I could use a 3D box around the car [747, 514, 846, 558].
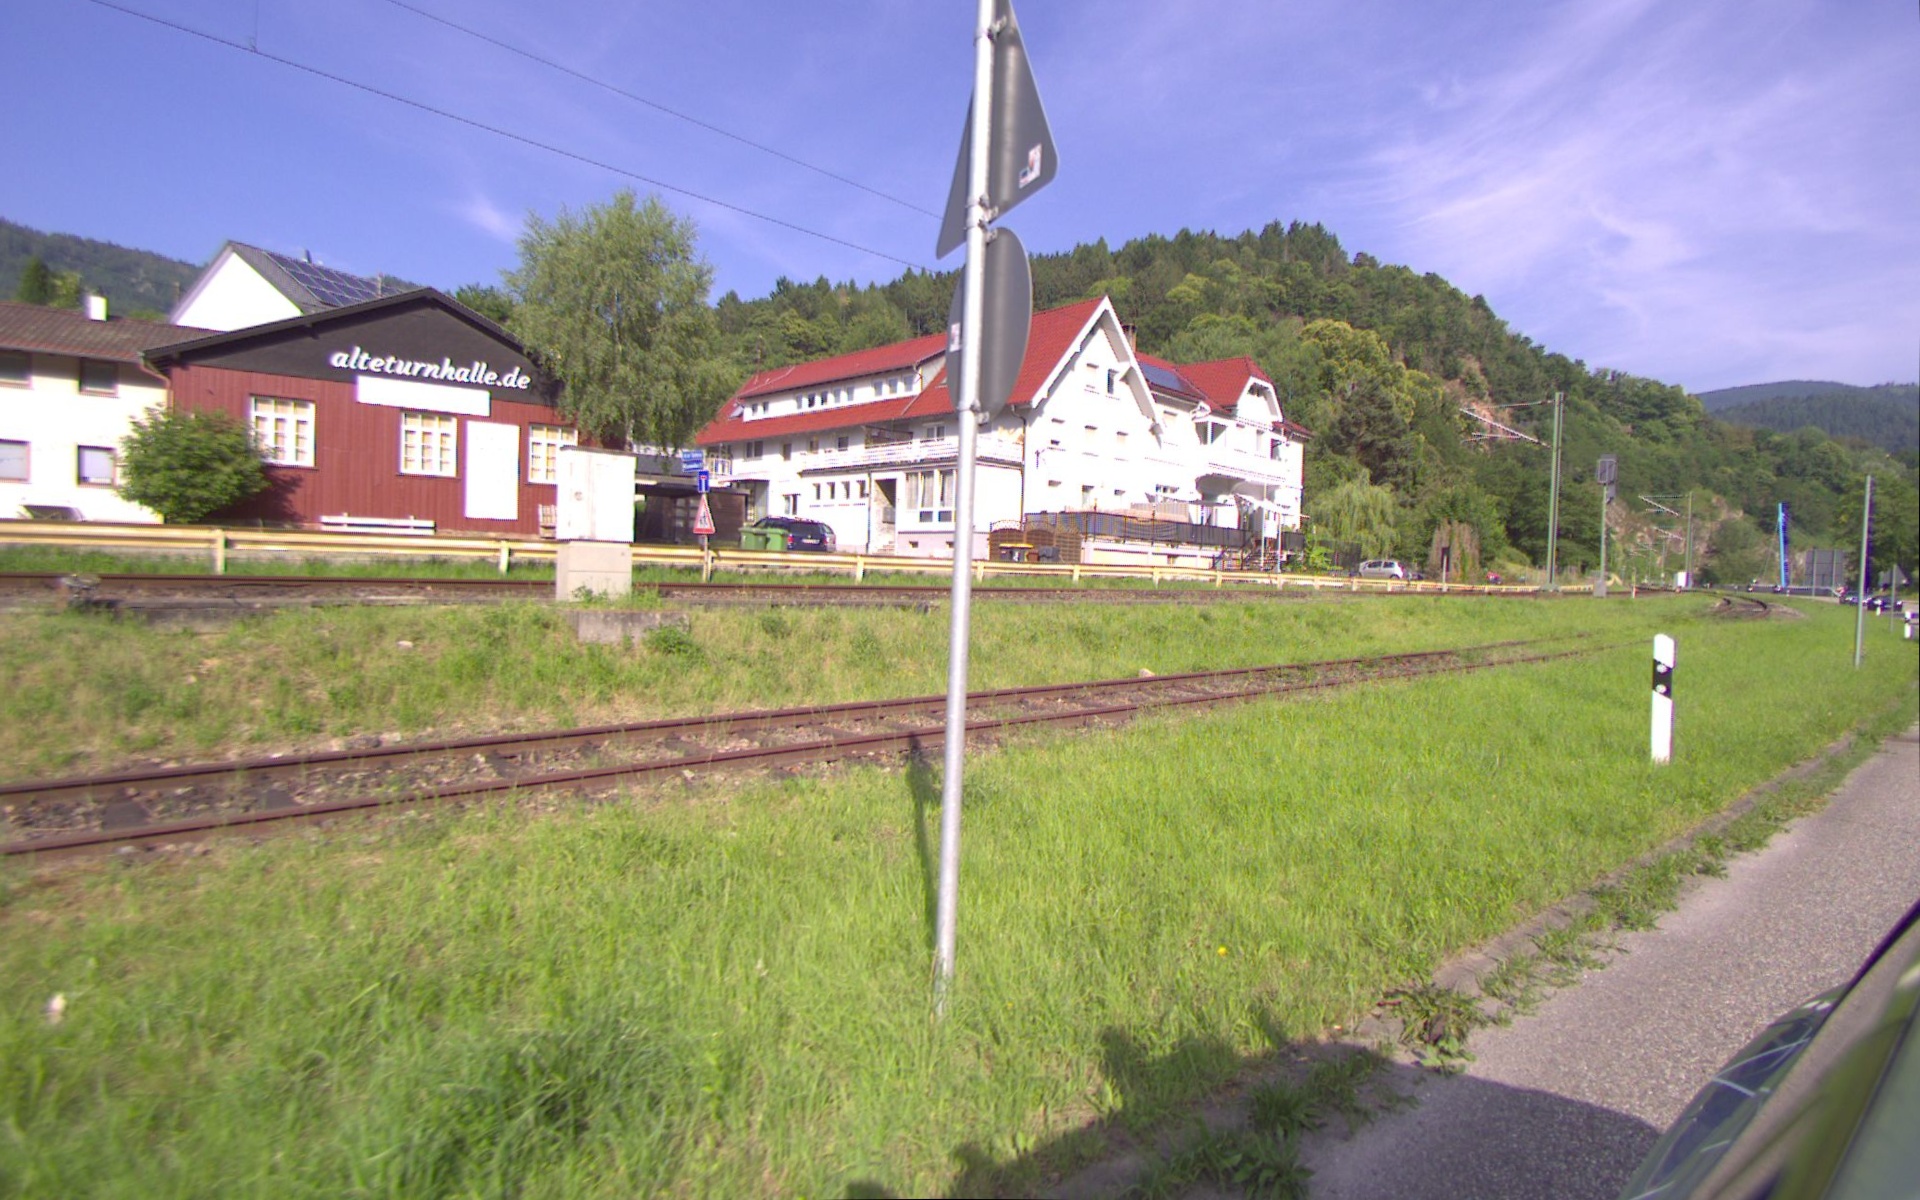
[{"bbox_3d":[-6.232,-2.444,38.349,1.794,1.392,3.996,1,5,-41],"label":"car"}]

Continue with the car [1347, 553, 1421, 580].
[{"bbox_3d":[27.566,-2.167,65.846,3.983,1.548,1.971,5,3,40],"label":"car"}]

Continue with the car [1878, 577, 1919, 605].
[{"bbox_3d":[75.193,-0.736,81.151,1.991,2.038,3.944,5,4,39],"label":"car"}]

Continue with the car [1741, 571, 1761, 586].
[{"bbox_3d":[117.115,-3.185,149.918,1.989,2.038,3.949,5,4,35],"label":"car"}]

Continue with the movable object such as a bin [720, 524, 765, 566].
[{"bbox_3d":[-5.772,-1.449,26.870,0.896,1.064,0.808,1,0,-42],"label":"movable object such as a bin"}]

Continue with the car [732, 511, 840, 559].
[{"bbox_3d":[-5.850,-2.179,33.744,1.792,1.392,3.999,1,4,-39],"label":"car"}]

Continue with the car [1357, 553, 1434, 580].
[{"bbox_3d":[29.173,-2.236,67.796,4.309,1.548,1.971,5,3,40],"label":"car"}]

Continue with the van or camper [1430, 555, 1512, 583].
[{"bbox_3d":[40.622,-2.474,80.518,2.086,1.952,5.423,0,4,-44],"label":"van or camper"}]

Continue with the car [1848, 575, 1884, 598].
[{"bbox_3d":[86.380,-1.309,96.490,1.988,2.038,3.949,5,4,35],"label":"car"}]

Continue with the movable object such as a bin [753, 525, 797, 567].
[{"bbox_3d":[-5.034,-1.458,27.574,0.896,1.064,0.808,1,0,-42],"label":"movable object such as a bin"}]
